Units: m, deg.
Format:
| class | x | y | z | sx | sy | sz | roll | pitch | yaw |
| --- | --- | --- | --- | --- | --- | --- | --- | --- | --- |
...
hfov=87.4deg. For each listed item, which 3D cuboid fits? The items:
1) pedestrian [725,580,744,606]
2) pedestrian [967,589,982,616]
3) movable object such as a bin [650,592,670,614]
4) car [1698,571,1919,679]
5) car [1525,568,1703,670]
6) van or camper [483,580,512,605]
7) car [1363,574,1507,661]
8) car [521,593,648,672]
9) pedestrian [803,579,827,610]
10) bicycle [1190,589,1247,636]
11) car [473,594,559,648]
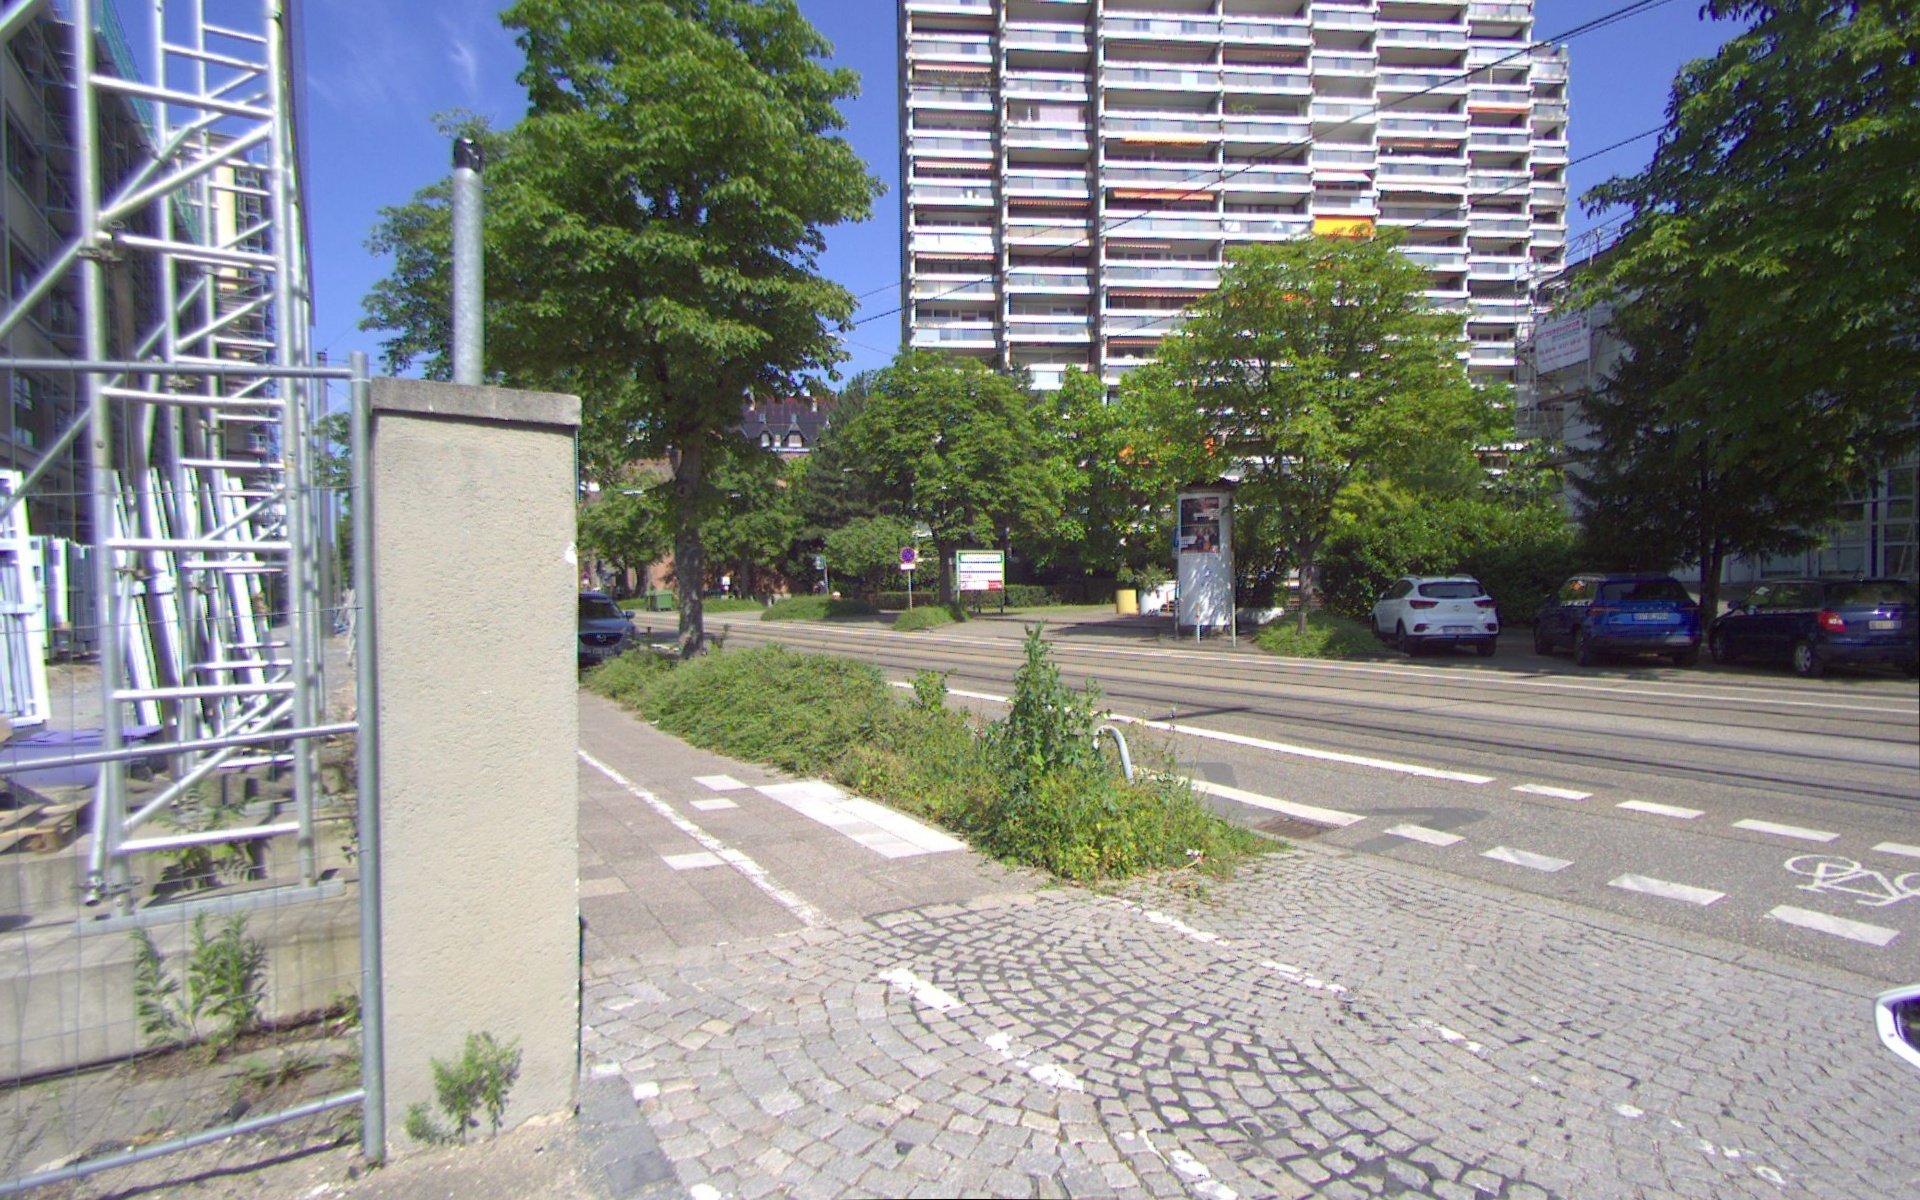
| class | x | y | z | sx | sy | sz | roll | pitch | yaw |
| --- | --- | --- | --- | --- | --- | --- | --- | --- | --- |
| pedestrian | -16.450 | -0.512 | 73.150 | 1.047 | 1.822 | 1.255 | 0 | 1 | -28 |
| pedestrian | 0.628 | 0.095 | 44.689 | 0.525 | 1.170 | 0.700 | -1 | 1 | -10 |
| movable object such as a bin | -21.145 | 0.211 | 70.812 | 1.249 | 1.473 | 1.072 | 0 | 1 | -26 |
| car | 13.609 | 0.336 | 16.128 | 1.544 | 1.551 | 3.460 | 0 | 1 | 12 |
| car | 12.013 | 0.278 | 18.735 | 1.745 | 1.644 | 3.945 | -1 | 2 | 17 |
| van or camper | -49.734 | -0.802 | 107.905 | 2.028 | 2.655 | 5.808 | -1 | 1 | -33 |
| car | 10.033 | 0.311 | 21.530 | 1.783 | 1.628 | 3.947 | -3 | 0 | 11 |
| car | -8.206 | 0.627 | 21.725 | 1.801 | 1.514 | 4.072 | -1 | 1 | -32 |
| pedestrian | -8.824 | -0.333 | 61.024 | 1.047 | 1.822 | 1.255 | 0 | 1 | -28 |
| bicycle | 7.423 | 0.341 | 28.905 | 0.542 | 1.326 | 1.604 | -1 | 1 | -37 |
| car | -13.297 | 0.573 | 29.998 | 1.801 | 1.473 | 3.965 | -1 | 1 | -32 |
